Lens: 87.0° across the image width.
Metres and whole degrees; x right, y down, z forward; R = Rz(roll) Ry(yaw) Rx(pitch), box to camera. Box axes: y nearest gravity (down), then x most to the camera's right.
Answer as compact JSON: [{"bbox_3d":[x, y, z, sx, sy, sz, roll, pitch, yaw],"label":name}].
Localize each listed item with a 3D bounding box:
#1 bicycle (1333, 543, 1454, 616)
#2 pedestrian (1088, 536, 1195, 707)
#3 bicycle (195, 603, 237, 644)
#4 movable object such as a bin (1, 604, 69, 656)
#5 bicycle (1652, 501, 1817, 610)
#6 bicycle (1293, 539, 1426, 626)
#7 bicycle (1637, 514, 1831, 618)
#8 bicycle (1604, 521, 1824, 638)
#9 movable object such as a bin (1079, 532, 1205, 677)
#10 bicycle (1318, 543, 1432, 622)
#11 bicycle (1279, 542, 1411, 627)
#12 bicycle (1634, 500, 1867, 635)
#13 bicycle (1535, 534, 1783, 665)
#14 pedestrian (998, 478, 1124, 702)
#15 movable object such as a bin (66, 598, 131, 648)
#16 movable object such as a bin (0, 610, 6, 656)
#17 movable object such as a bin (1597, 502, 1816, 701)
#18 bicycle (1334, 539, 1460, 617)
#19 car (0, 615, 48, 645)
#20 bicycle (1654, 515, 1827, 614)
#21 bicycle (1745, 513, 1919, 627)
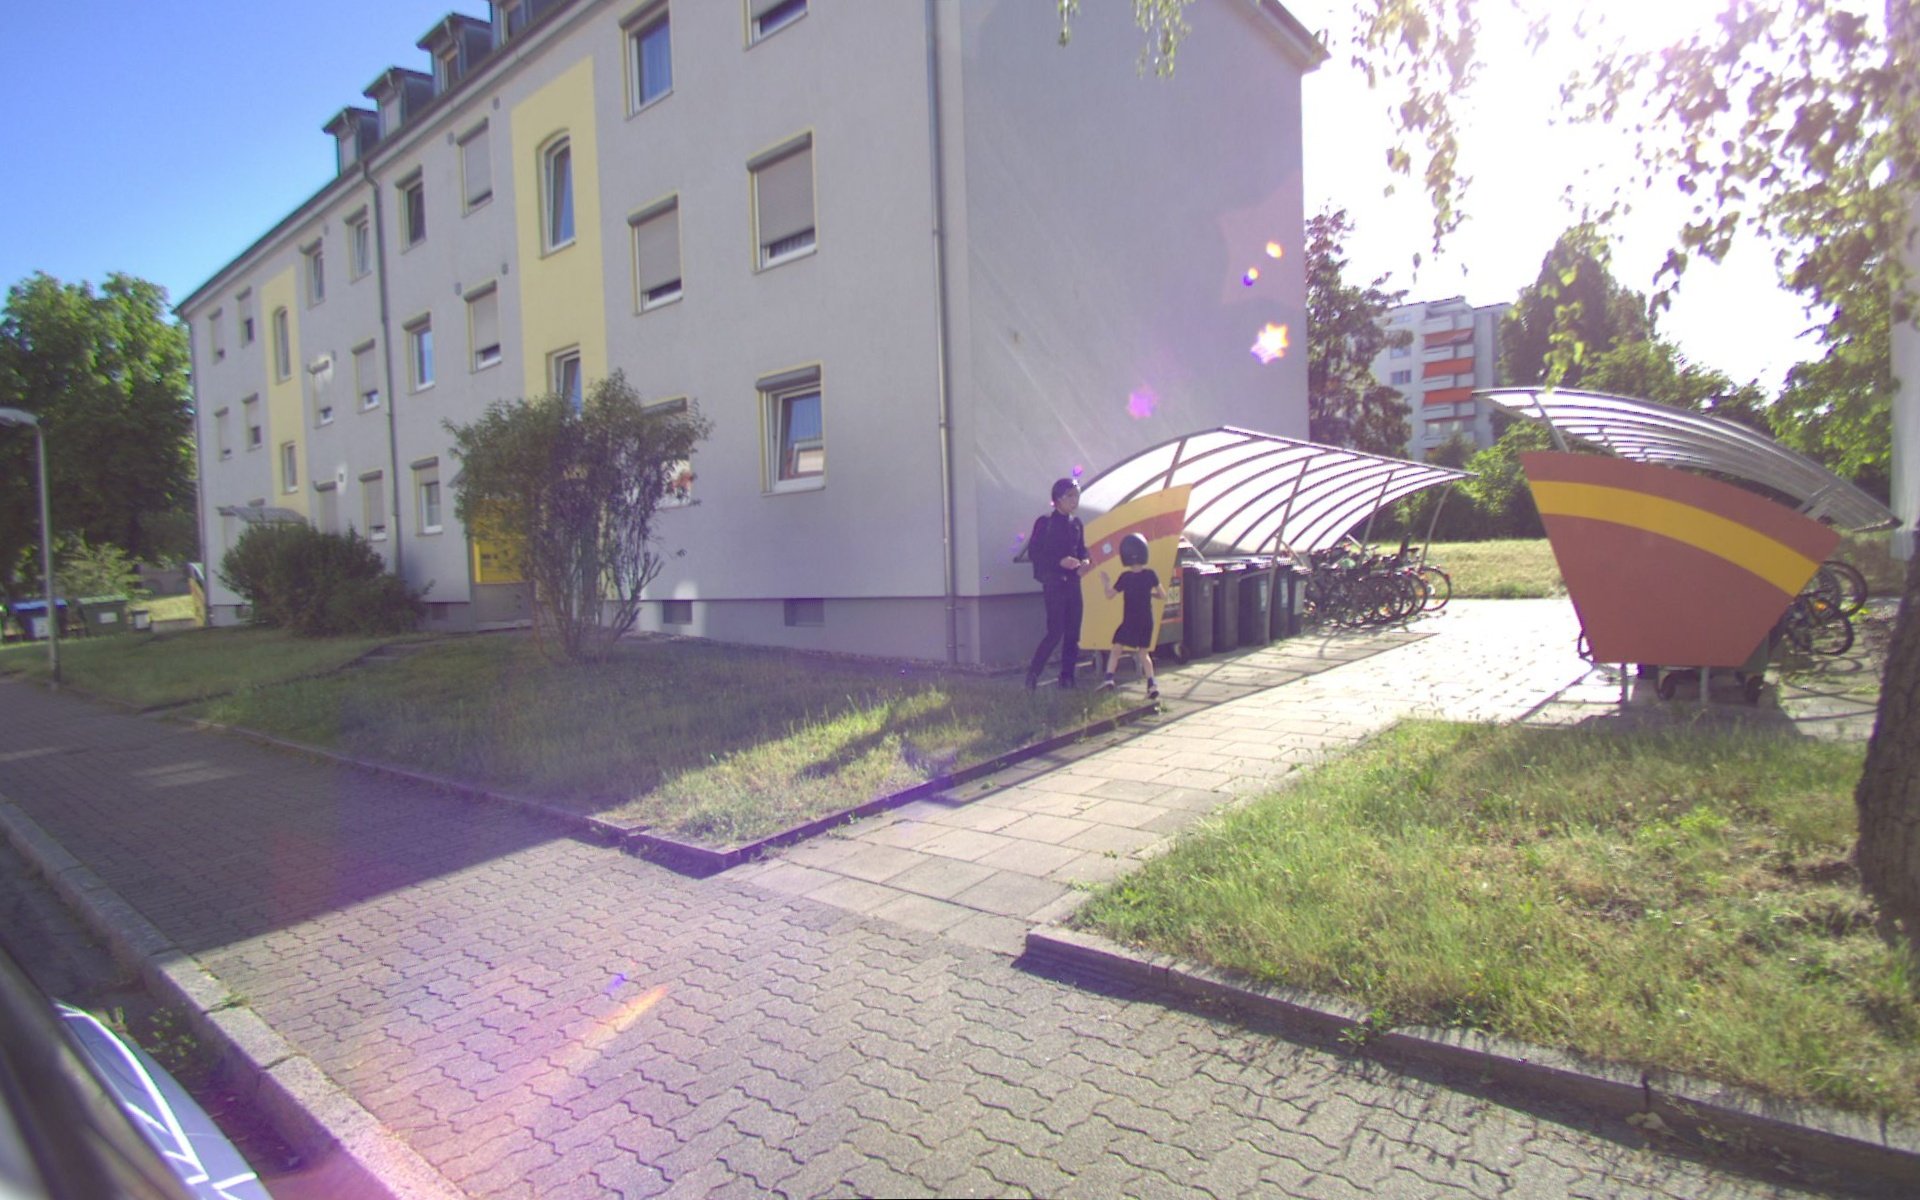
[{"bbox_3d":[7.064,-0.319,16.542,1.720,1.113,0.522,-1,1,41],"label":"bicycle"},{"bbox_3d":[1.494,0.160,8.310,0.575,1.327,0.679,-1,1,41],"label":"pedestrian"},{"bbox_3d":[-24.212,0.749,32.924,2.008,1.259,0.633,-1,2,41],"label":"bicycle"},{"bbox_3d":[-29.417,0.950,32.203,1.082,1.470,1.342,-1,6,41],"label":"movable object such as a bin"},{"bbox_3d":[10.612,-0.578,13.914,1.757,1.408,0.460,-1,0,41],"label":"bicycle"},{"bbox_3d":[5.817,-0.230,14.796,1.734,1.200,0.450,-1,0,41],"label":"bicycle"},{"bbox_3d":[9.975,-0.406,13.110,1.943,1.244,0.522,-1,0,41],"label":"bicycle"},{"bbox_3d":[8.002,-0.189,10.805,1.835,1.163,0.425,-1,0,41],"label":"bicycle"},{"bbox_3d":[1.912,0.025,10.555,0.812,1.416,1.073,-1,2,41],"label":"movable object such as a bin"},{"bbox_3d":[6.227,-0.248,15.234,1.525,1.136,0.401,-1,0,41],"label":"bicycle"},{"bbox_3d":[5.443,-0.194,14.367,1.684,1.153,0.457,-1,0,41],"label":"bicycle"},{"bbox_3d":[8.892,-0.326,11.462,2.012,1.408,0.611,-1,0,41],"label":"bicycle"},{"bbox_3d":[6.519,-0.003,9.507,1.848,1.125,0.527,-1,2,41],"label":"bicycle"},{"bbox_3d":[0.887,-0.089,8.838,0.718,1.837,0.797,-1,1,41],"label":"pedestrian"},{"bbox_3d":[-28.429,0.748,33.414,1.072,1.463,1.347,-1,6,41],"label":"movable object such as a bin"},{"bbox_3d":[-30.313,1.061,31.034,1.197,1.470,1.302,-1,5,41],"label":"movable object such as a bin"},{"bbox_3d":[5.717,-0.025,7.739,1.227,1.345,1.374,-1,3,40],"label":"movable object such as a bin"},{"bbox_3d":[6.787,-0.317,15.771,1.720,1.149,0.522,-1,0,41],"label":"bicycle"},{"bbox_3d":[-50.797,1.609,53.180,1.728,1.508,4.088,-1,1,40],"label":"car"},{"bbox_3d":[10.349,-0.446,13.468,1.770,1.228,0.496,-1,0,41],"label":"bicycle"},{"bbox_3d":[10.127,-0.320,11.564,1.788,1.244,0.464,-1,0,41],"label":"bicycle"}]
